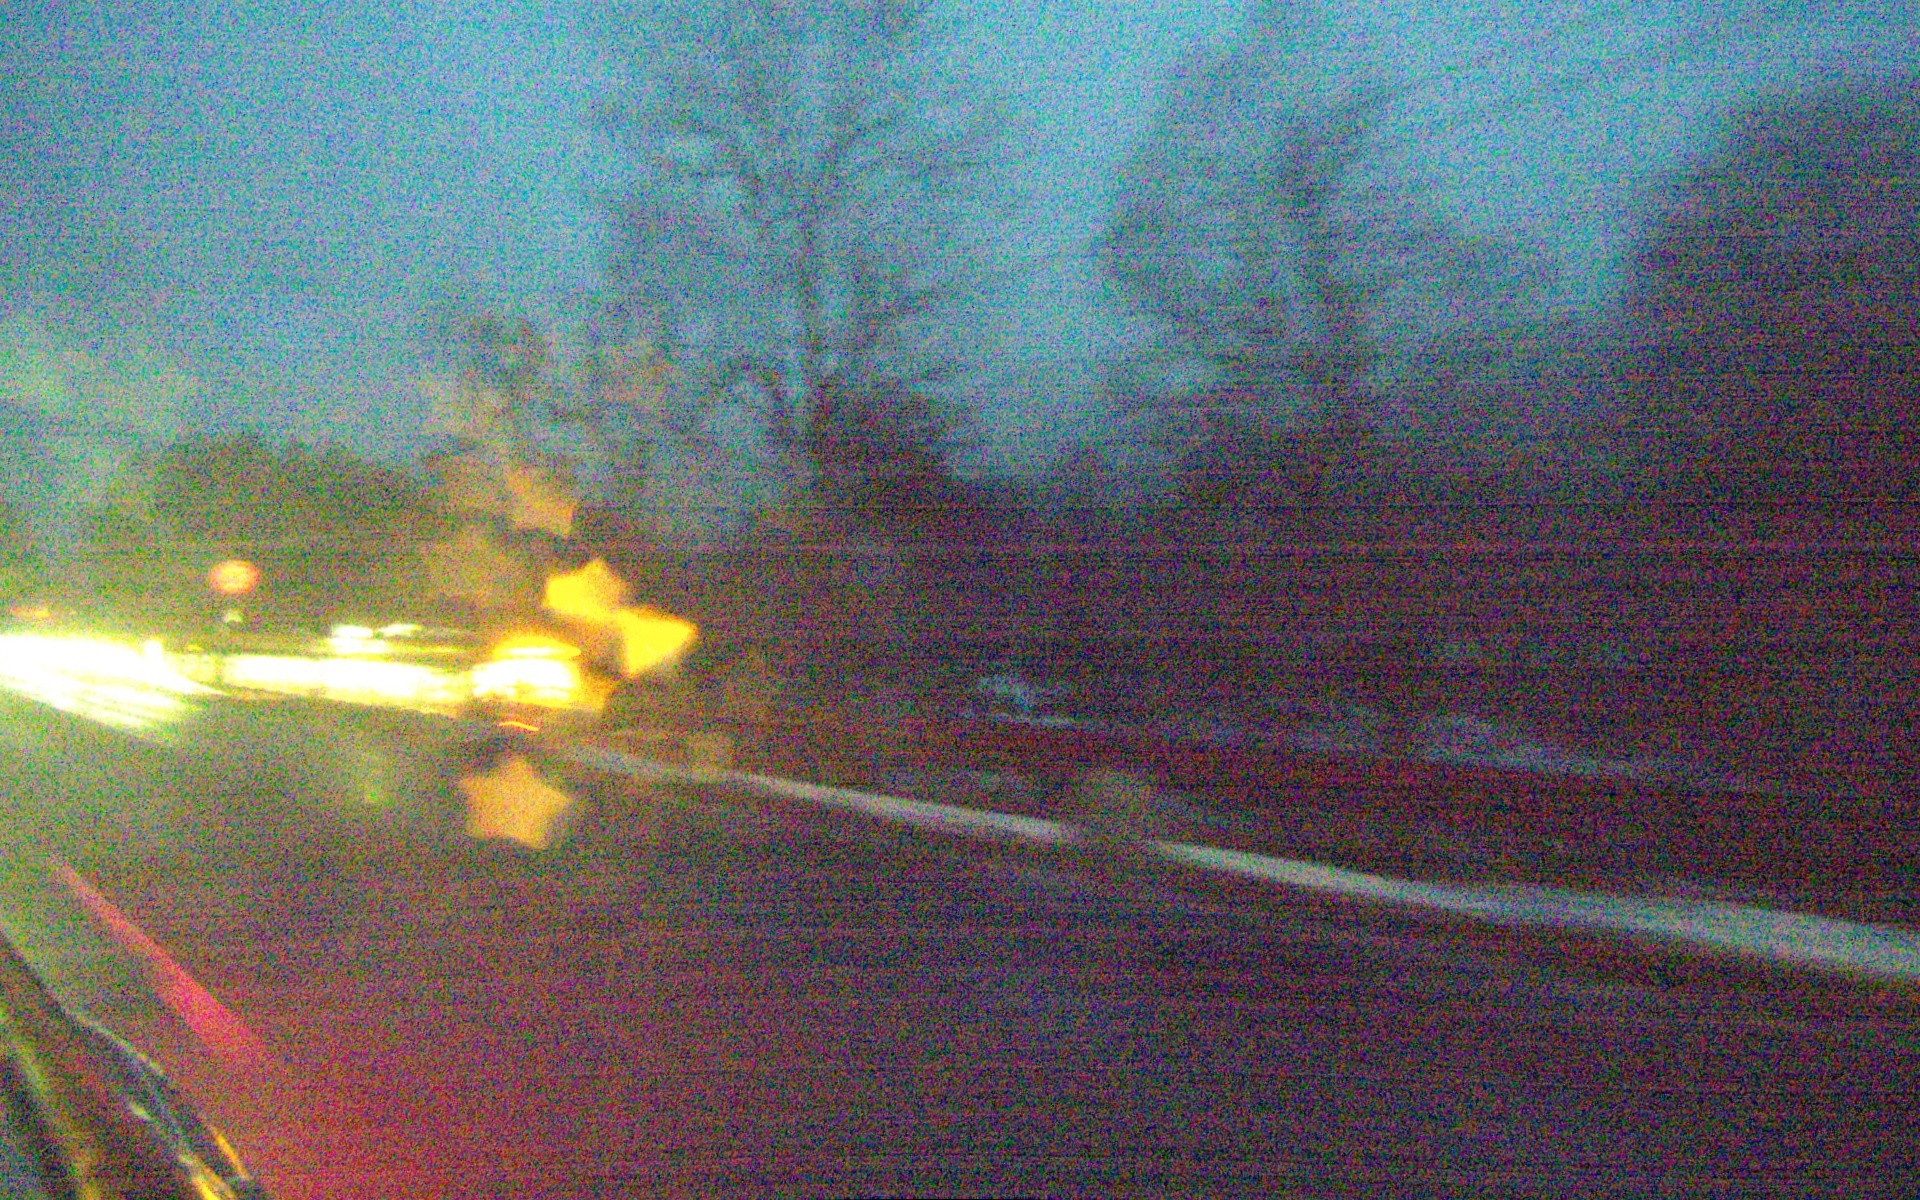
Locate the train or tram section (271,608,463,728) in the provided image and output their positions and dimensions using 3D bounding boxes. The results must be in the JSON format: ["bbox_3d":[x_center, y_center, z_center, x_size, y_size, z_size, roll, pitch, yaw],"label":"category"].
[{"bbox_3d":[-19.639,2.070,33.231,8.547,3.486,2.814,-2,-1,41],"label":"train or tram section"}]

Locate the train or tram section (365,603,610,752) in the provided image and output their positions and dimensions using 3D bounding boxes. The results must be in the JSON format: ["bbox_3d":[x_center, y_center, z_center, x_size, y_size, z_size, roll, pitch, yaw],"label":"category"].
[{"bbox_3d":[-13.118,1.909,27.634,8.547,3.486,2.814,-2,-1,41],"label":"train or tram section"}]

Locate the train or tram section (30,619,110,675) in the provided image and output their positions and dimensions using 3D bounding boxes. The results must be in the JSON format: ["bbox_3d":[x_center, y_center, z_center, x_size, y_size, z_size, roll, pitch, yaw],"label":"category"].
[{"bbox_3d":[-58.671,3.017,66.627,8.547,3.486,2.814,-2,-1,41],"label":"train or tram section"}]

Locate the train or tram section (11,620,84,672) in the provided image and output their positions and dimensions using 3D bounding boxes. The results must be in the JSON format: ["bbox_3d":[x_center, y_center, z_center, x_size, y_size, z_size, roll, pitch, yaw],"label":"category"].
[{"bbox_3d":[-65.147,3.194,72.205,8.547,3.486,2.814,-2,-1,41],"label":"train or tram section"}]

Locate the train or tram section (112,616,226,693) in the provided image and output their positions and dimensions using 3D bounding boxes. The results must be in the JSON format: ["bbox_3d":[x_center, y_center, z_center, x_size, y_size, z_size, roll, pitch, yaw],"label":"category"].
[{"bbox_3d":[-39.153,2.573,49.956,8.547,3.486,2.814,-2,-1,41],"label":"train or tram section"}]

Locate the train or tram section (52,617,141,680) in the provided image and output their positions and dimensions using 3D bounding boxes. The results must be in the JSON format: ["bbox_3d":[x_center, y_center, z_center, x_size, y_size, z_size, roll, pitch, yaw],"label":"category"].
[{"bbox_3d":[-52.188,2.841,61.085,8.547,3.486,2.814,-2,-1,41],"label":"train or tram section"}]

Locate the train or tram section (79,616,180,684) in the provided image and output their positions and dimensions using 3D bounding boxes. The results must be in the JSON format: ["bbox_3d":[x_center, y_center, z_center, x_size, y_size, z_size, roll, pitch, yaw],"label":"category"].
[{"bbox_3d":[-45.647,2.649,55.527,8.547,3.486,2.814,-2,-1,41],"label":"train or tram section"}]

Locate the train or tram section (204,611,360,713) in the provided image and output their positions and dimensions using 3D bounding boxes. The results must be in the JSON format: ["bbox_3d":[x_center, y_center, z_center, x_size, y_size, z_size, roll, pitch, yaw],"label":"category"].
[{"bbox_3d":[-26.141,2.241,38.823,8.547,3.486,2.814,-2,-1,41],"label":"train or tram section"}]

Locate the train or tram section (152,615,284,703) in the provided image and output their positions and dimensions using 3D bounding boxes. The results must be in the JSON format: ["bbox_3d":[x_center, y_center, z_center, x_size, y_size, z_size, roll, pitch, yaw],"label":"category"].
[{"bbox_3d":[-32.651,2.457,44.375,8.547,3.486,2.814,-2,-1,41],"label":"train or tram section"}]
